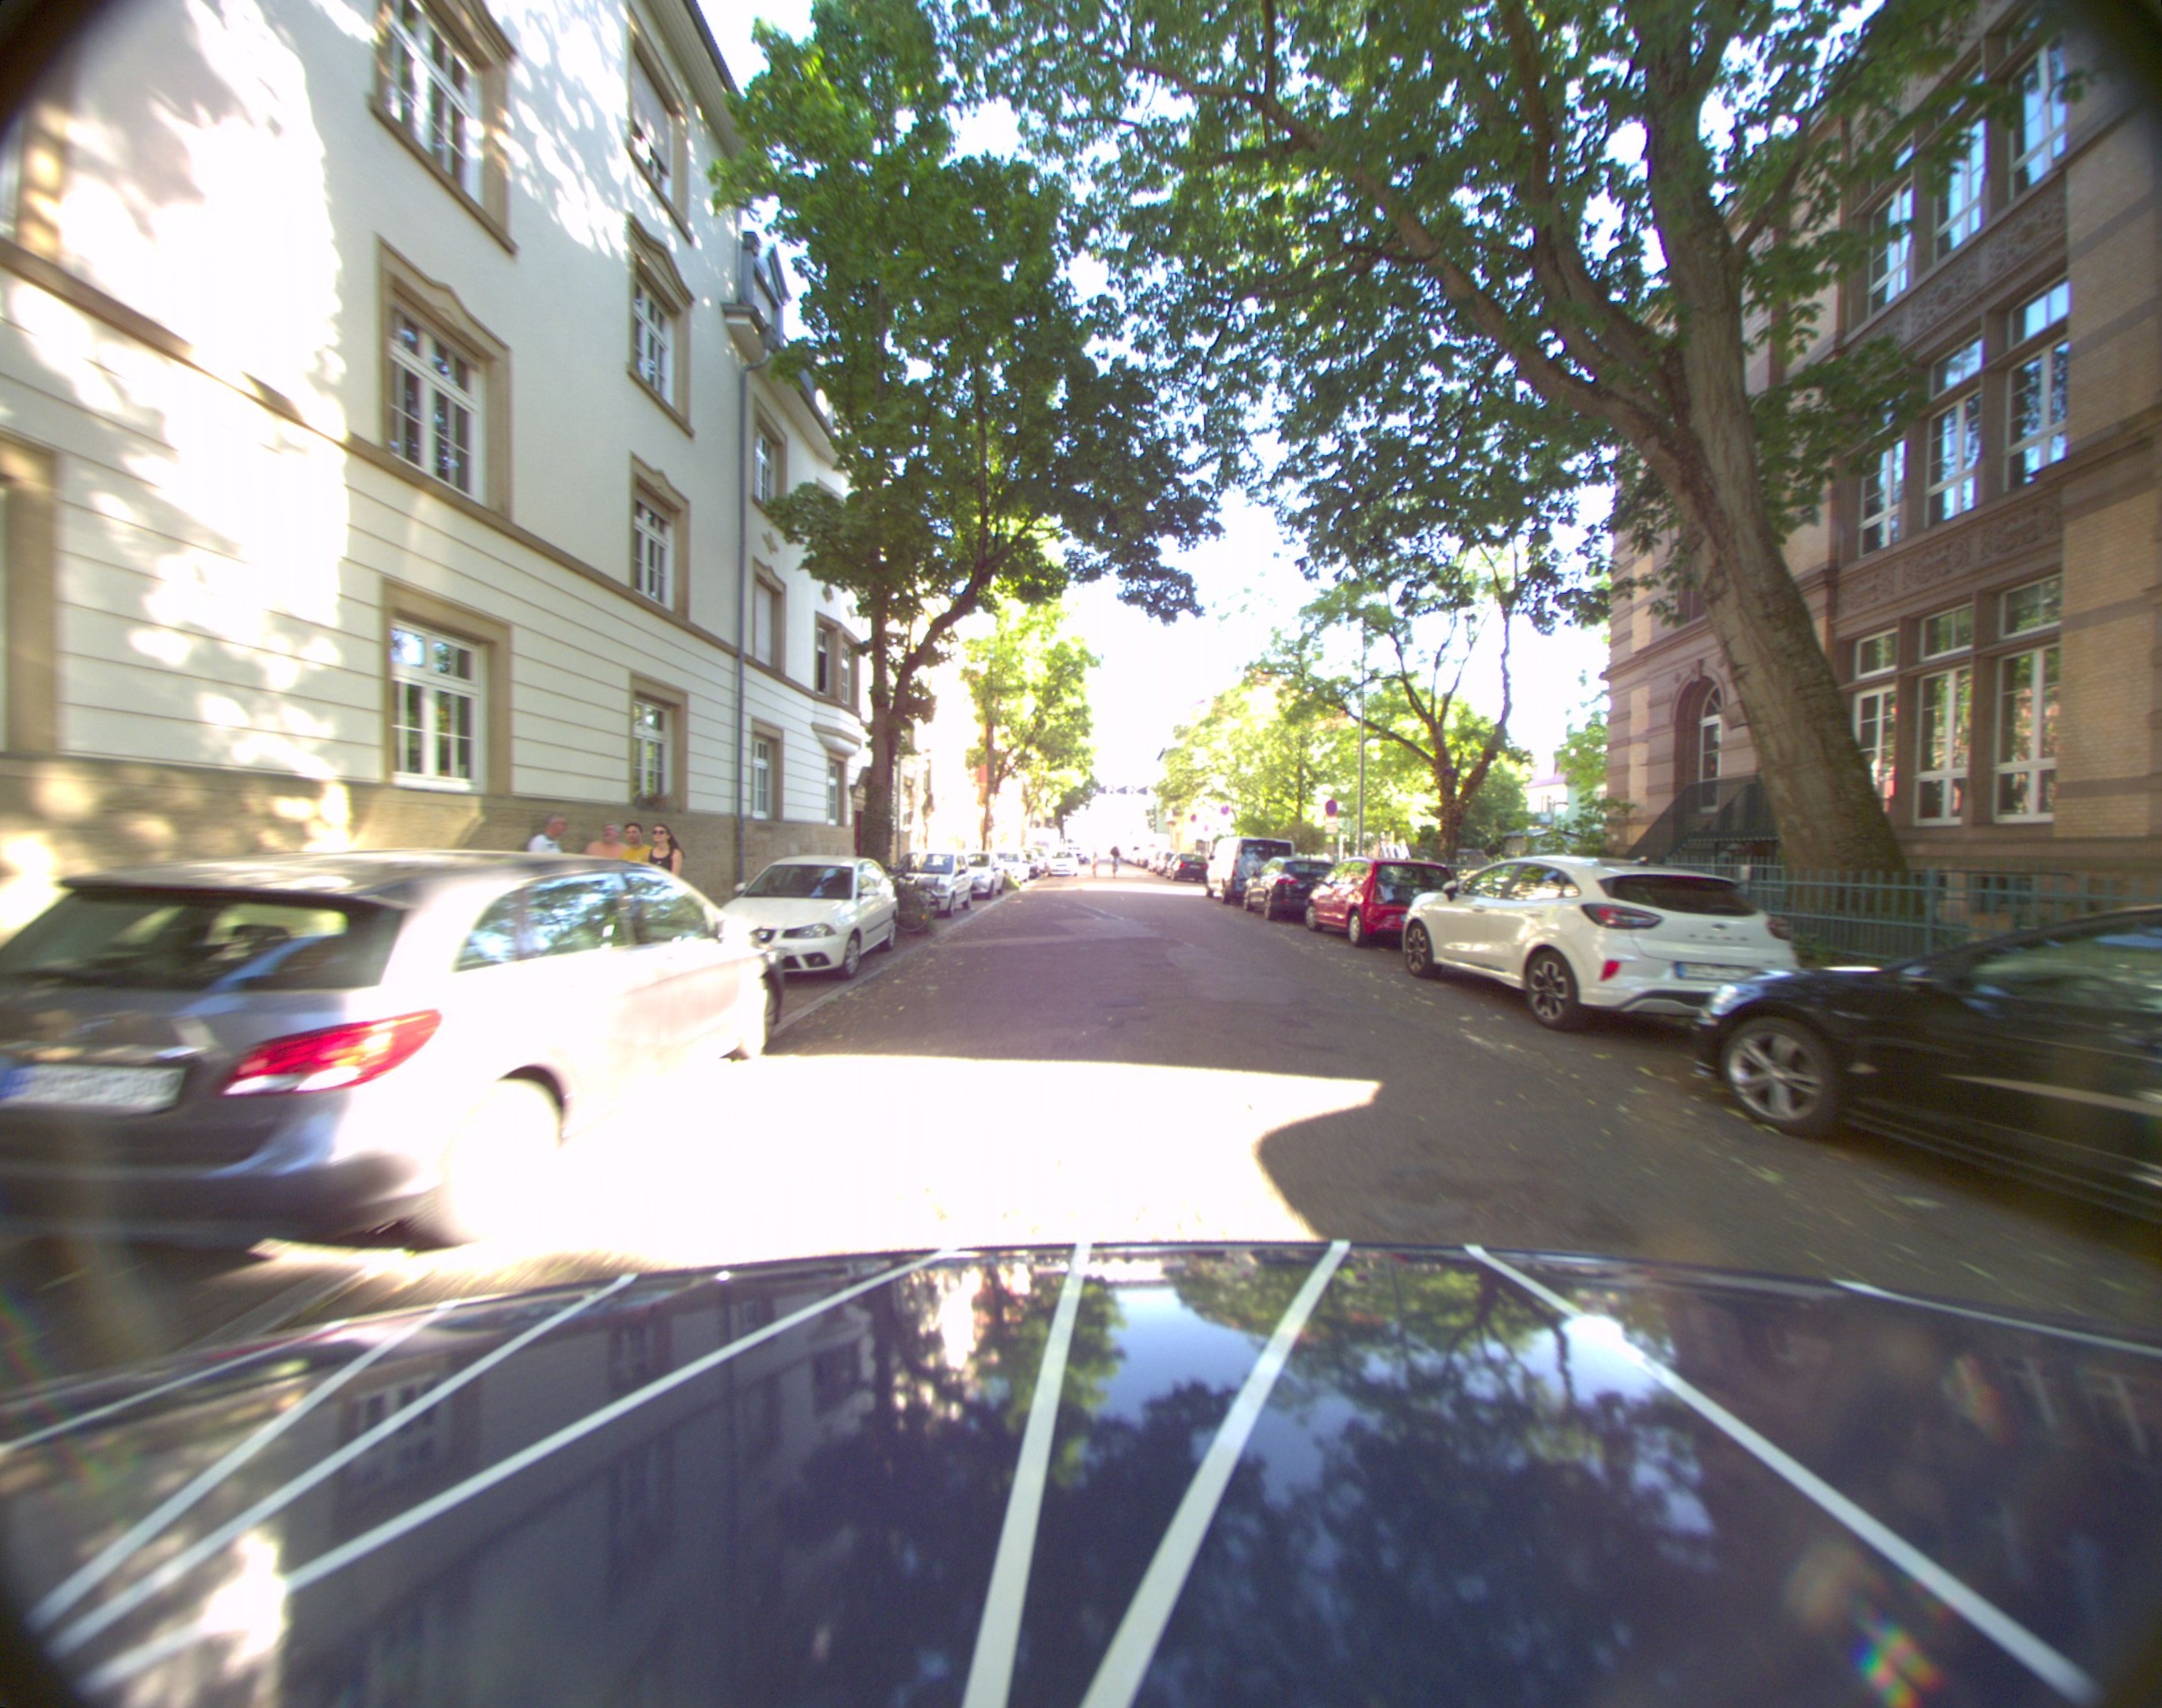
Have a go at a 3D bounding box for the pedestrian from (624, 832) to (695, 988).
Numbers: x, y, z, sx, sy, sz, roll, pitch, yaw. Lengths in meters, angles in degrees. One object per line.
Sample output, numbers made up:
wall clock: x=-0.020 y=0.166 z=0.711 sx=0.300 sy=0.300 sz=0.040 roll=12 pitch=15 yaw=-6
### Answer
pedestrian: x=-4.748 y=0.617 z=8.580 sx=0.520 sy=1.709 sz=0.516 roll=1 pitch=1 yaw=-1

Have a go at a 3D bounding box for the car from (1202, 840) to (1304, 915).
car: x=5.149 y=0.619 z=23.439 sx=1.998 sy=1.946 sz=5.042 roll=3 pitch=1 yaw=1

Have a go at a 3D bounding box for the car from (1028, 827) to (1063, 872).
car: x=-2.452 y=-0.355 z=54.616 sx=1.998 sy=2.984 sz=6.238 roll=-2 pitch=1 yaw=1

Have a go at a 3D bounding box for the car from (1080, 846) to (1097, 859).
car: x=1.084 y=-0.252 z=103.426 sx=2.146 sy=1.758 sz=4.809 roll=1 pitch=1 yaw=2

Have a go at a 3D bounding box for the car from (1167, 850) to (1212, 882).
car: x=5.354 y=0.570 z=37.916 sx=1.739 sy=1.456 sz=4.000 roll=1 pitch=1 yaw=1

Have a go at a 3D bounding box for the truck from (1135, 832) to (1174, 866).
truck: x=5.944 y=-0.427 z=62.032 sx=2.395 sy=2.642 sz=7.092 roll=1 pitch=1 yaw=0

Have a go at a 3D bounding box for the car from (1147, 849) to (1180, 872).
car: x=5.437 y=0.385 z=50.334 sx=1.788 sy=1.450 sz=4.208 roll=1 pitch=1 yaw=1

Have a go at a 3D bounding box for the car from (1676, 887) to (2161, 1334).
car: x=4.714 y=1.052 z=2.778 sx=1.586 sy=1.456 sz=3.996 roll=4 pitch=2 yaw=-5

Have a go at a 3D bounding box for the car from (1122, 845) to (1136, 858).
car: x=6.169 y=-0.354 z=98.037 sx=1.597 sy=1.557 sz=3.999 roll=1 pitch=1 yaw=0

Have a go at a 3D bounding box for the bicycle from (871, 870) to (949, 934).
bicycle: x=-3.288 y=0.913 z=14.635 sx=1.414 sy=1.188 sz=0.336 roll=1 pitch=1 yaw=-1

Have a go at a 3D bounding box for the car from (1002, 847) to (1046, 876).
car: x=-2.867 y=0.340 z=38.910 sx=1.812 sy=1.412 sz=4.000 roll=1 pitch=1 yaw=1

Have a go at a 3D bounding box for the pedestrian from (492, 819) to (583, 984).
pedestrian: x=-6.284 y=0.529 z=8.821 sx=0.529 sy=1.834 sz=0.707 roll=1 pitch=1 yaw=2

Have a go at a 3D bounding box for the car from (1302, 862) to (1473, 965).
car: x=5.124 y=0.918 z=13.184 sx=1.624 sy=1.455 sz=3.310 roll=2 pitch=1 yaw=1

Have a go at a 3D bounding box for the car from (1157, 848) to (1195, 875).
car: x=5.480 y=0.385 z=44.264 sx=1.755 sy=1.464 sz=4.000 roll=-1 pitch=1 yaw=1

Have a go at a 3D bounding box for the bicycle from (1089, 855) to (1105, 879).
bicycle: x=0.811 y=0.657 z=38.963 sx=0.810 sy=1.136 sz=2.547 roll=1 pitch=1 yaw=1

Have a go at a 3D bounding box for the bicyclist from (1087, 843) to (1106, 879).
bicyclist: x=0.814 y=0.332 z=38.879 sx=0.934 sy=1.809 sz=1.078 roll=1 pitch=1 yaw=1

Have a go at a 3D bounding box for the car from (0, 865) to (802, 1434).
car: x=-3.204 y=0.908 z=4.304 sx=1.685 sy=1.531 sz=4.133 roll=2 pitch=1 yaw=0

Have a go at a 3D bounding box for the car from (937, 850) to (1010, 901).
car: x=-3.318 y=0.628 z=24.088 sx=1.651 sy=1.434 sz=4.000 roll=1 pitch=1 yaw=1

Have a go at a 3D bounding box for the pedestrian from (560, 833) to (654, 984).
pedestrian: x=-6.010 y=0.662 z=9.687 sx=0.706 sy=1.834 sz=0.840 roll=1 pitch=1 yaw=-5

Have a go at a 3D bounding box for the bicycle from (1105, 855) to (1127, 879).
bicycle: x=1.781 y=0.650 z=38.941 sx=0.985 sy=1.136 sz=2.547 roll=1 pitch=1 yaw=1

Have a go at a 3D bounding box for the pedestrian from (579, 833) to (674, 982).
pedestrian: x=-5.332 y=0.599 z=8.957 sx=0.624 sy=1.675 sz=0.818 roll=1 pitch=1 yaw=0

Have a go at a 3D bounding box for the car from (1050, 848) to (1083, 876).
car: x=-0.786 y=0.413 z=42.674 sx=1.654 sy=1.449 sz=4.000 roll=1 pitch=1 yaw=1

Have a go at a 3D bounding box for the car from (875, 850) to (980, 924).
car: x=-3.565 y=0.700 z=18.318 sx=1.639 sy=1.524 sz=4.000 roll=1 pitch=1 yaw=1

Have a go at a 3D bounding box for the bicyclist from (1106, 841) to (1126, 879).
bicyclist: x=1.778 y=0.295 z=38.824 sx=0.967 sy=1.904 sz=1.139 roll=1 pitch=1 yaw=1

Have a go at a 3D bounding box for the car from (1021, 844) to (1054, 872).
car: x=-2.659 y=0.200 z=47.208 sx=1.660 sy=1.674 sz=4.082 roll=1 pitch=1 yaw=1

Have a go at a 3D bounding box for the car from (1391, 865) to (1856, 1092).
car: x=4.930 y=0.977 z=7.768 sx=1.793 sy=1.524 sz=3.999 roll=4 pitch=1 yaw=0

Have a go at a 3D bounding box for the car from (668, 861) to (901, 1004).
car: x=-3.585 y=0.857 z=9.961 sx=1.728 sy=1.399 sz=3.854 roll=1 pitch=1 yaw=-4

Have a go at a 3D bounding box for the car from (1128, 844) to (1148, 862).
car: x=6.168 y=-0.146 z=82.193 sx=1.809 sy=1.791 sz=4.189 roll=1 pitch=1 yaw=0

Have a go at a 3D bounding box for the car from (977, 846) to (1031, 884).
car: x=-3.225 y=0.435 z=32.651 sx=1.824 sy=1.521 sz=4.000 roll=1 pitch=1 yaw=1

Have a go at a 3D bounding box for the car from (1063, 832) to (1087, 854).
car: x=-0.544 y=-1.078 z=73.682 sx=2.146 sy=2.002 sz=4.863 roll=1 pitch=1 yaw=1

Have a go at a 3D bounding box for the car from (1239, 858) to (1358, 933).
car: x=4.987 y=0.892 z=17.961 sx=1.731 sy=1.455 sz=3.844 roll=2 pitch=1 yaw=1

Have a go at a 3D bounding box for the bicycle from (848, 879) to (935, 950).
bicycle: x=-3.287 y=1.046 z=13.228 sx=1.414 sy=1.188 sz=0.336 roll=1 pitch=1 yaw=-1
